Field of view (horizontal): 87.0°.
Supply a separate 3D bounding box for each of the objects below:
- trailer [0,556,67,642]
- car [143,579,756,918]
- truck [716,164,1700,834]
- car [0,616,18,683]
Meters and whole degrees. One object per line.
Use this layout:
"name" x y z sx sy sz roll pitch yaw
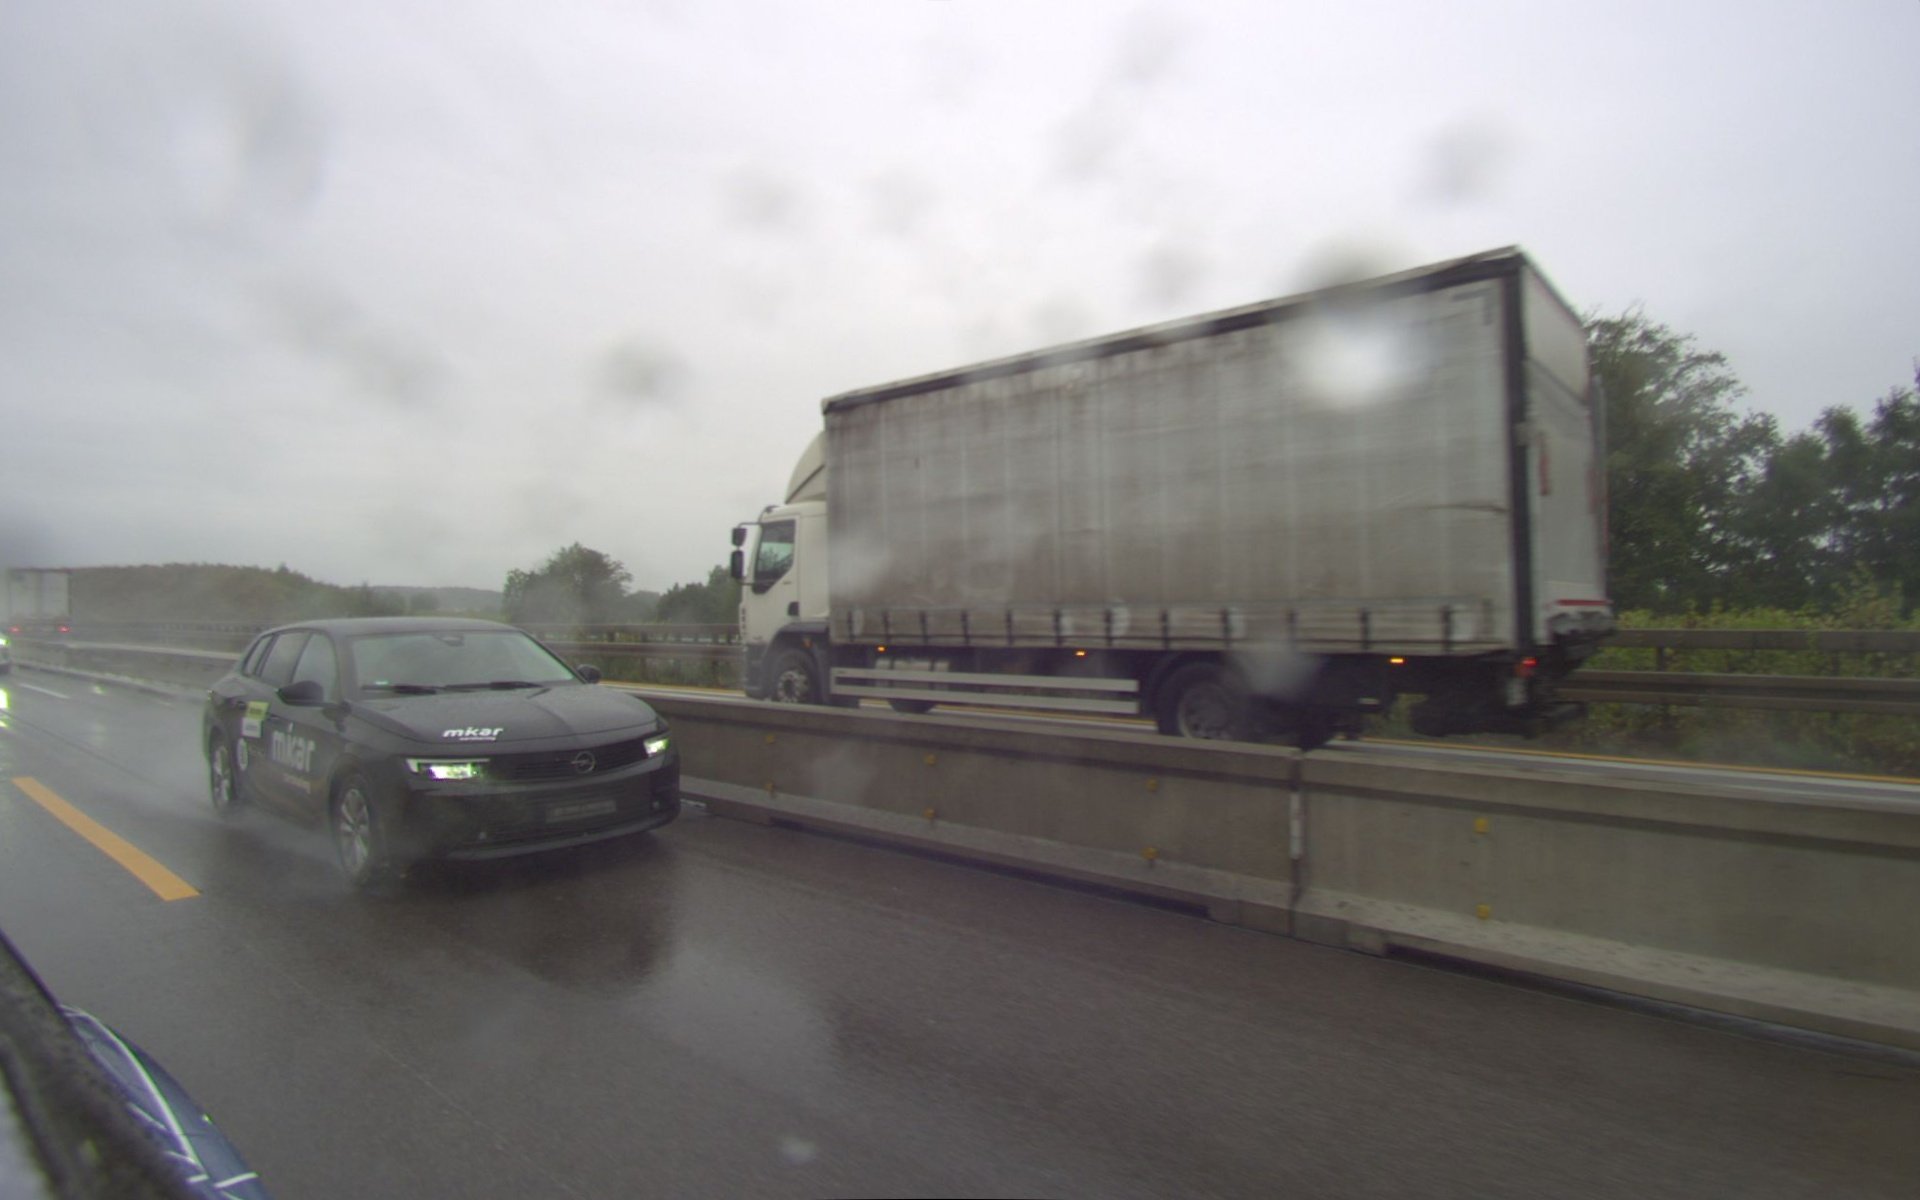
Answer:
"trailer" -54.888 -0.066 59.059 12.002 4.624 2.521 0 0 41
"car" -3.680 0.641 6.846 4.790 1.539 1.920 1 1 39
"truck" 1.628 -0.613 10.690 9.826 4.198 2.973 0 -2 41
"car" -26.704 1.282 26.857 3.996 1.693 1.947 0 0 39
